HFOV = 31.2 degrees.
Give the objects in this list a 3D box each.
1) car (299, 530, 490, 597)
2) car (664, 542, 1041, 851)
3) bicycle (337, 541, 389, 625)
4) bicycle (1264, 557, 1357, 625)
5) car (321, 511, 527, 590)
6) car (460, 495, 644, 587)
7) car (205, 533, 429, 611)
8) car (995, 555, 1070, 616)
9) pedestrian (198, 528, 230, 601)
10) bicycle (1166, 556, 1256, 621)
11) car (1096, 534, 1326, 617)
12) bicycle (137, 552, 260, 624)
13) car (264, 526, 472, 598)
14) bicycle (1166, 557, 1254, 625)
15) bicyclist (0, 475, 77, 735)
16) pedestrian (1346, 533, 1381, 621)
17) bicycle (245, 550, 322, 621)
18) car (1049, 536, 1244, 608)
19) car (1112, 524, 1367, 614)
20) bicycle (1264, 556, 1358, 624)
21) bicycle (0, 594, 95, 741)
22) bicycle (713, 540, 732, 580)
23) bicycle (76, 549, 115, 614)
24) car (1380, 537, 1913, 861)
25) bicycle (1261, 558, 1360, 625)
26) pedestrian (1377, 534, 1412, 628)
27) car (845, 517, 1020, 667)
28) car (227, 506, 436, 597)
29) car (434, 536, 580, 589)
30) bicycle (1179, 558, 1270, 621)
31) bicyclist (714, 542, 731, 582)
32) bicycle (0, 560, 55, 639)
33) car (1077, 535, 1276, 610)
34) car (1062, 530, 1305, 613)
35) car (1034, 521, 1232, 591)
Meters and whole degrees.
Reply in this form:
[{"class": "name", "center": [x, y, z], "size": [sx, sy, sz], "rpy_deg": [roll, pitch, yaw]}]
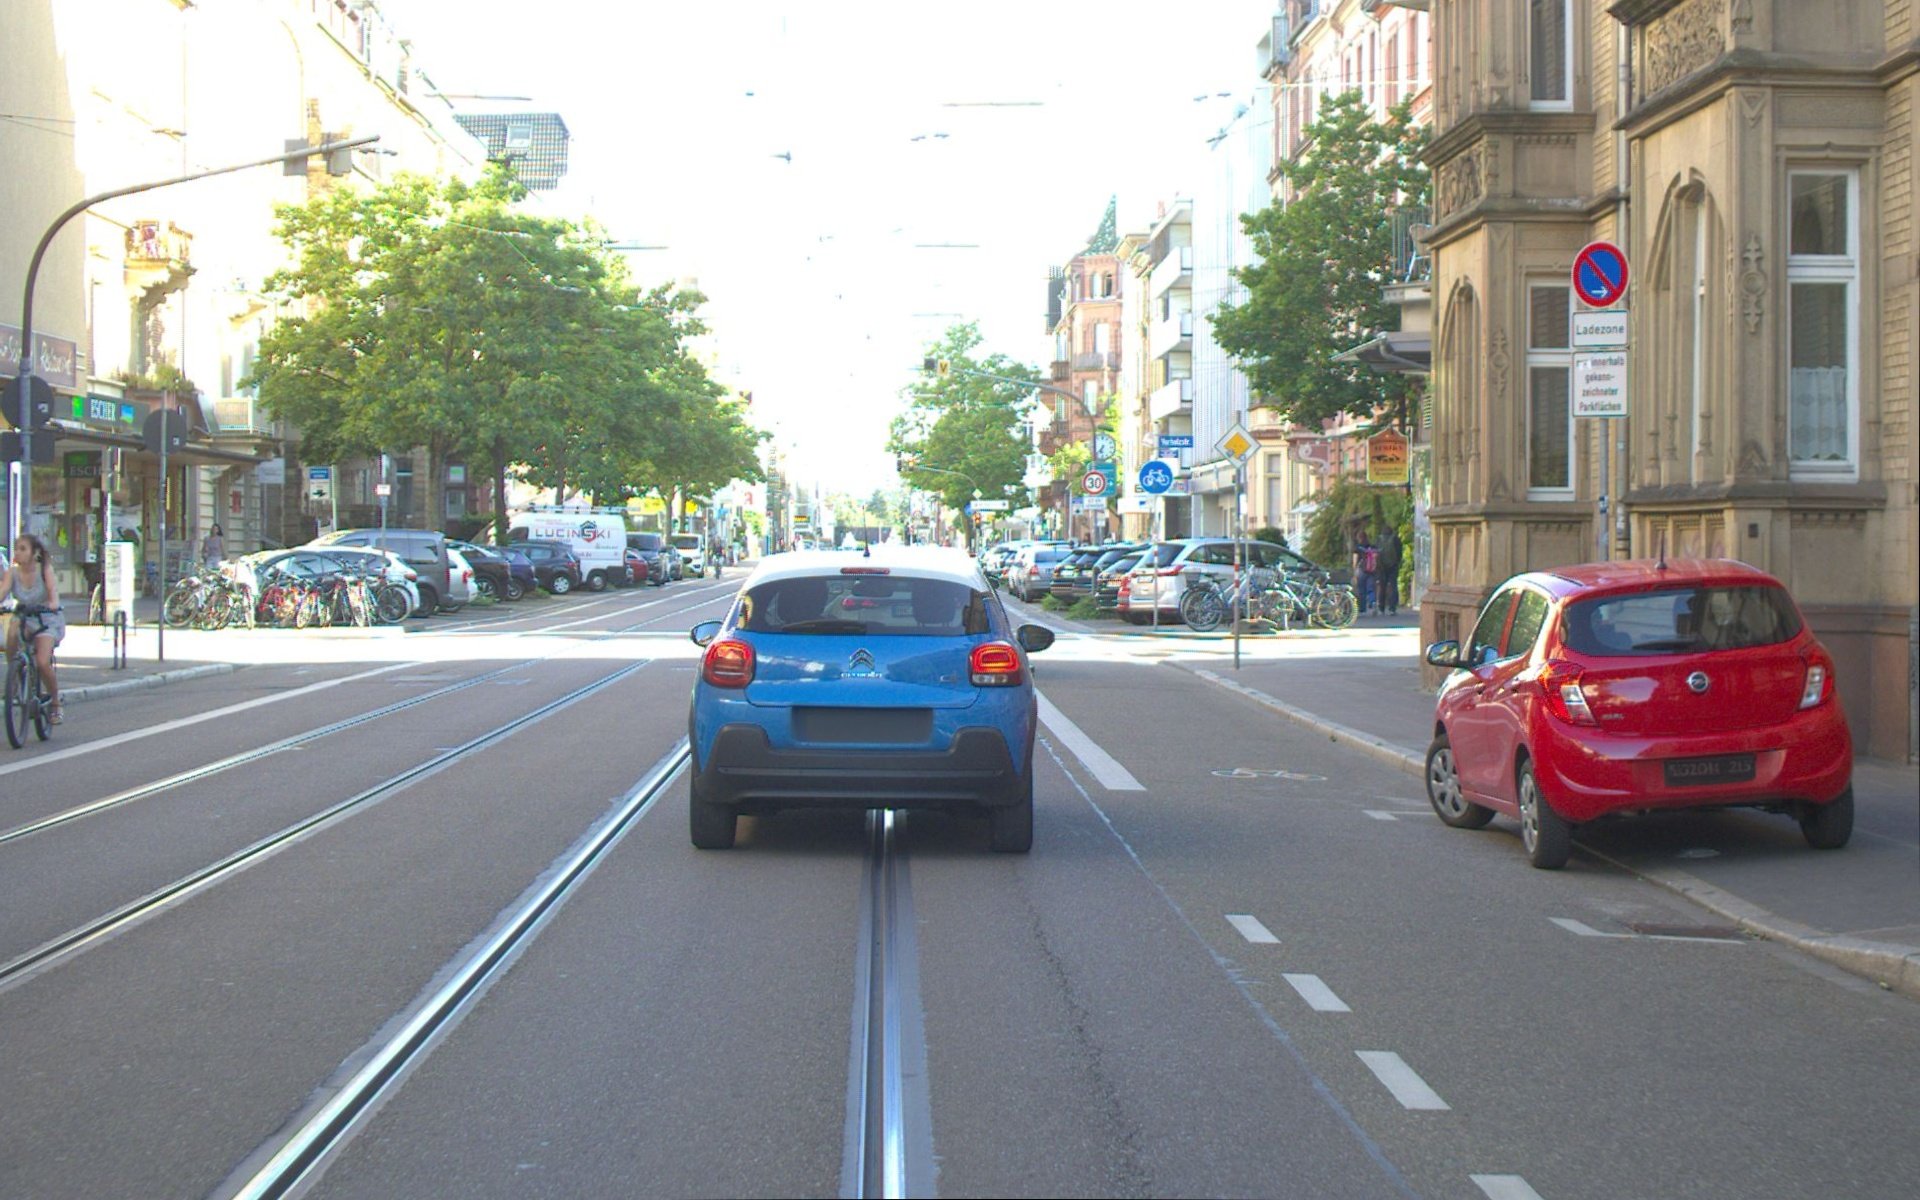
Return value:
[{"class": "car", "center": [-12.609, -0.813, 76.649], "size": [3.831, 1.425, 1.766], "rpy_deg": [1, 1, -27]}, {"class": "car", "center": [-0.553, 0.440, 18.071], "size": [1.762, 1.436, 3.557], "rpy_deg": [1, 1, -1]}, {"class": "bicycle", "center": [-10.339, -0.310, 59.599], "size": [0.681, 1.315, 2.436], "rpy_deg": [1, 3, -5]}, {"class": "bicycle", "center": [5.983, -0.157, 58.782], "size": [1.556, 1.123, 0.528], "rpy_deg": [1, 0, 6]}, {"class": "car", "center": [-12.704, -1.170, 81.521], "size": [4.353, 1.777, 1.996], "rpy_deg": [1, 1, -33]}, {"class": "car", "center": [-12.683, -1.823, 106.989], "size": [5.370, 2.739, 1.806], "rpy_deg": [1, 1, -31]}, {"class": "car", "center": [-12.181, -0.523, 65.166], "size": [3.780, 1.395, 1.755], "rpy_deg": [1, 1, -34]}, {"class": "car", "center": [1.972, -0.415, 94.446], "size": [1.873, 1.590, 4.719], "rpy_deg": [1, 1, -1]}, {"class": "pedestrian", "center": [-16.908, -0.812, 77.967], "size": [0.569, 1.647, 0.641], "rpy_deg": [1, 0, -1]}, {"class": "bicycle", "center": [4.435, -0.207, 60.728], "size": [1.560, 1.123, 0.294], "rpy_deg": [1, 0, 6]}, {"class": "car", "center": [4.878, -0.468, 66.817], "size": [3.986, 1.531, 1.919], "rpy_deg": [1, 1, -25]}, {"class": "bicycle", "center": [-12.975, -0.213, 58.552], "size": [2.433, 1.105, 0.682], "rpy_deg": [4, 4, 39]}, {"class": "car", "center": [-12.624, -0.810, 73.411], "size": [4.006, 1.444, 1.699], "rpy_deg": [1, 1, -33]}, {"class": "bicycle", "center": [4.253, -0.160, 58.560], "size": [1.397, 1.123, 0.551], "rpy_deg": [1, 0, -7]}, {"class": "bicyclist", "center": [-7.346, 0.034, 26.996], "size": [0.612, 2.007, 0.734], "rpy_deg": [1, 0, -1]}, {"class": "pedestrian", "center": [7.638, -0.439, 65.092], "size": [0.518, 1.643, 0.864], "rpy_deg": [1, 0, -1]}, {"class": "bicycle", "center": [-11.659, -0.257, 59.197], "size": [0.681, 1.119, 1.888], "rpy_deg": [-1, 3, -32]}, {"class": "car", "center": [4.322, -0.661, 79.837], "size": [3.986, 1.590, 2.088], "rpy_deg": [1, 1, -25]}, {"class": "car", "center": [5.204, -0.576, 63.977], "size": [4.350, 1.590, 1.854], "rpy_deg": [1, 1, -25]}, {"class": "bicycle", "center": [5.936, -0.174, 58.183], "size": [1.556, 1.123, 0.551], "rpy_deg": [1, 0, 6]}, {"class": "bicycle", "center": [-7.375, 0.515, 27.062], "size": [0.602, 1.092, 2.044], "rpy_deg": [-2, 1, -1]}, {"class": "bicycle", "center": [-10.038, -1.710, 145.467], "size": [0.680, 1.673, 2.097], "rpy_deg": [1, 1, -1]}, {"class": "bicycle", "center": [-14.855, -0.327, 59.041], "size": [0.403, 1.106, 1.838], "rpy_deg": [0, 1, -22]}, {"class": "car", "center": [3.572, 0.450, 18.741], "size": [1.865, 1.477, 4.401], "rpy_deg": [-3, 1, -1]}, {"class": "bicycle", "center": [6.043, -0.148, 59.350], "size": [1.675, 1.123, 0.551], "rpy_deg": [1, 0, 6]}, {"class": "pedestrian", "center": [8.262, -0.358, 65.423], "size": [0.518, 1.772, 0.864], "rpy_deg": [1, 0, -1]}, {"class": "car", "center": [-0.329, -0.109, 39.430], "size": [1.873, 1.590, 4.000], "rpy_deg": [1, 1, -1]}, {"class": "car", "center": [-12.883, -0.983, 70.451], "size": [3.810, 1.778, 1.797], "rpy_deg": [1, 1, -29]}, {"class": "car", "center": [-13.332, -1.106, 101.212], "size": [3.986, 1.484, 1.807], "rpy_deg": [1, 1, -17]}, {"class": "bicycle", "center": [4.641, -0.181, 60.328], "size": [1.556, 1.075, 0.307], "rpy_deg": [1, 0, 6]}, {"class": "bicyclist", "center": [-10.067, -1.590, 145.560], "size": [0.634, 1.675, 0.727], "rpy_deg": [1, 0, -1]}, {"class": "bicycle", "center": [-14.754, -0.027, 54.086], "size": [0.681, 1.105, 2.436], "rpy_deg": [1, 3, -8]}, {"class": "car", "center": [4.846, -0.621, 77.007], "size": [3.986, 1.590, 1.960], "rpy_deg": [1, 1, -25]}, {"class": "car", "center": [4.527, -0.584, 69.650], "size": [4.433, 1.590, 2.089], "rpy_deg": [1, 1, -25]}, {"class": "car", "center": [4.143, -1.044, 82.389], "size": [4.302, 1.590, 1.983], "rpy_deg": [1, 1, -25]}]
